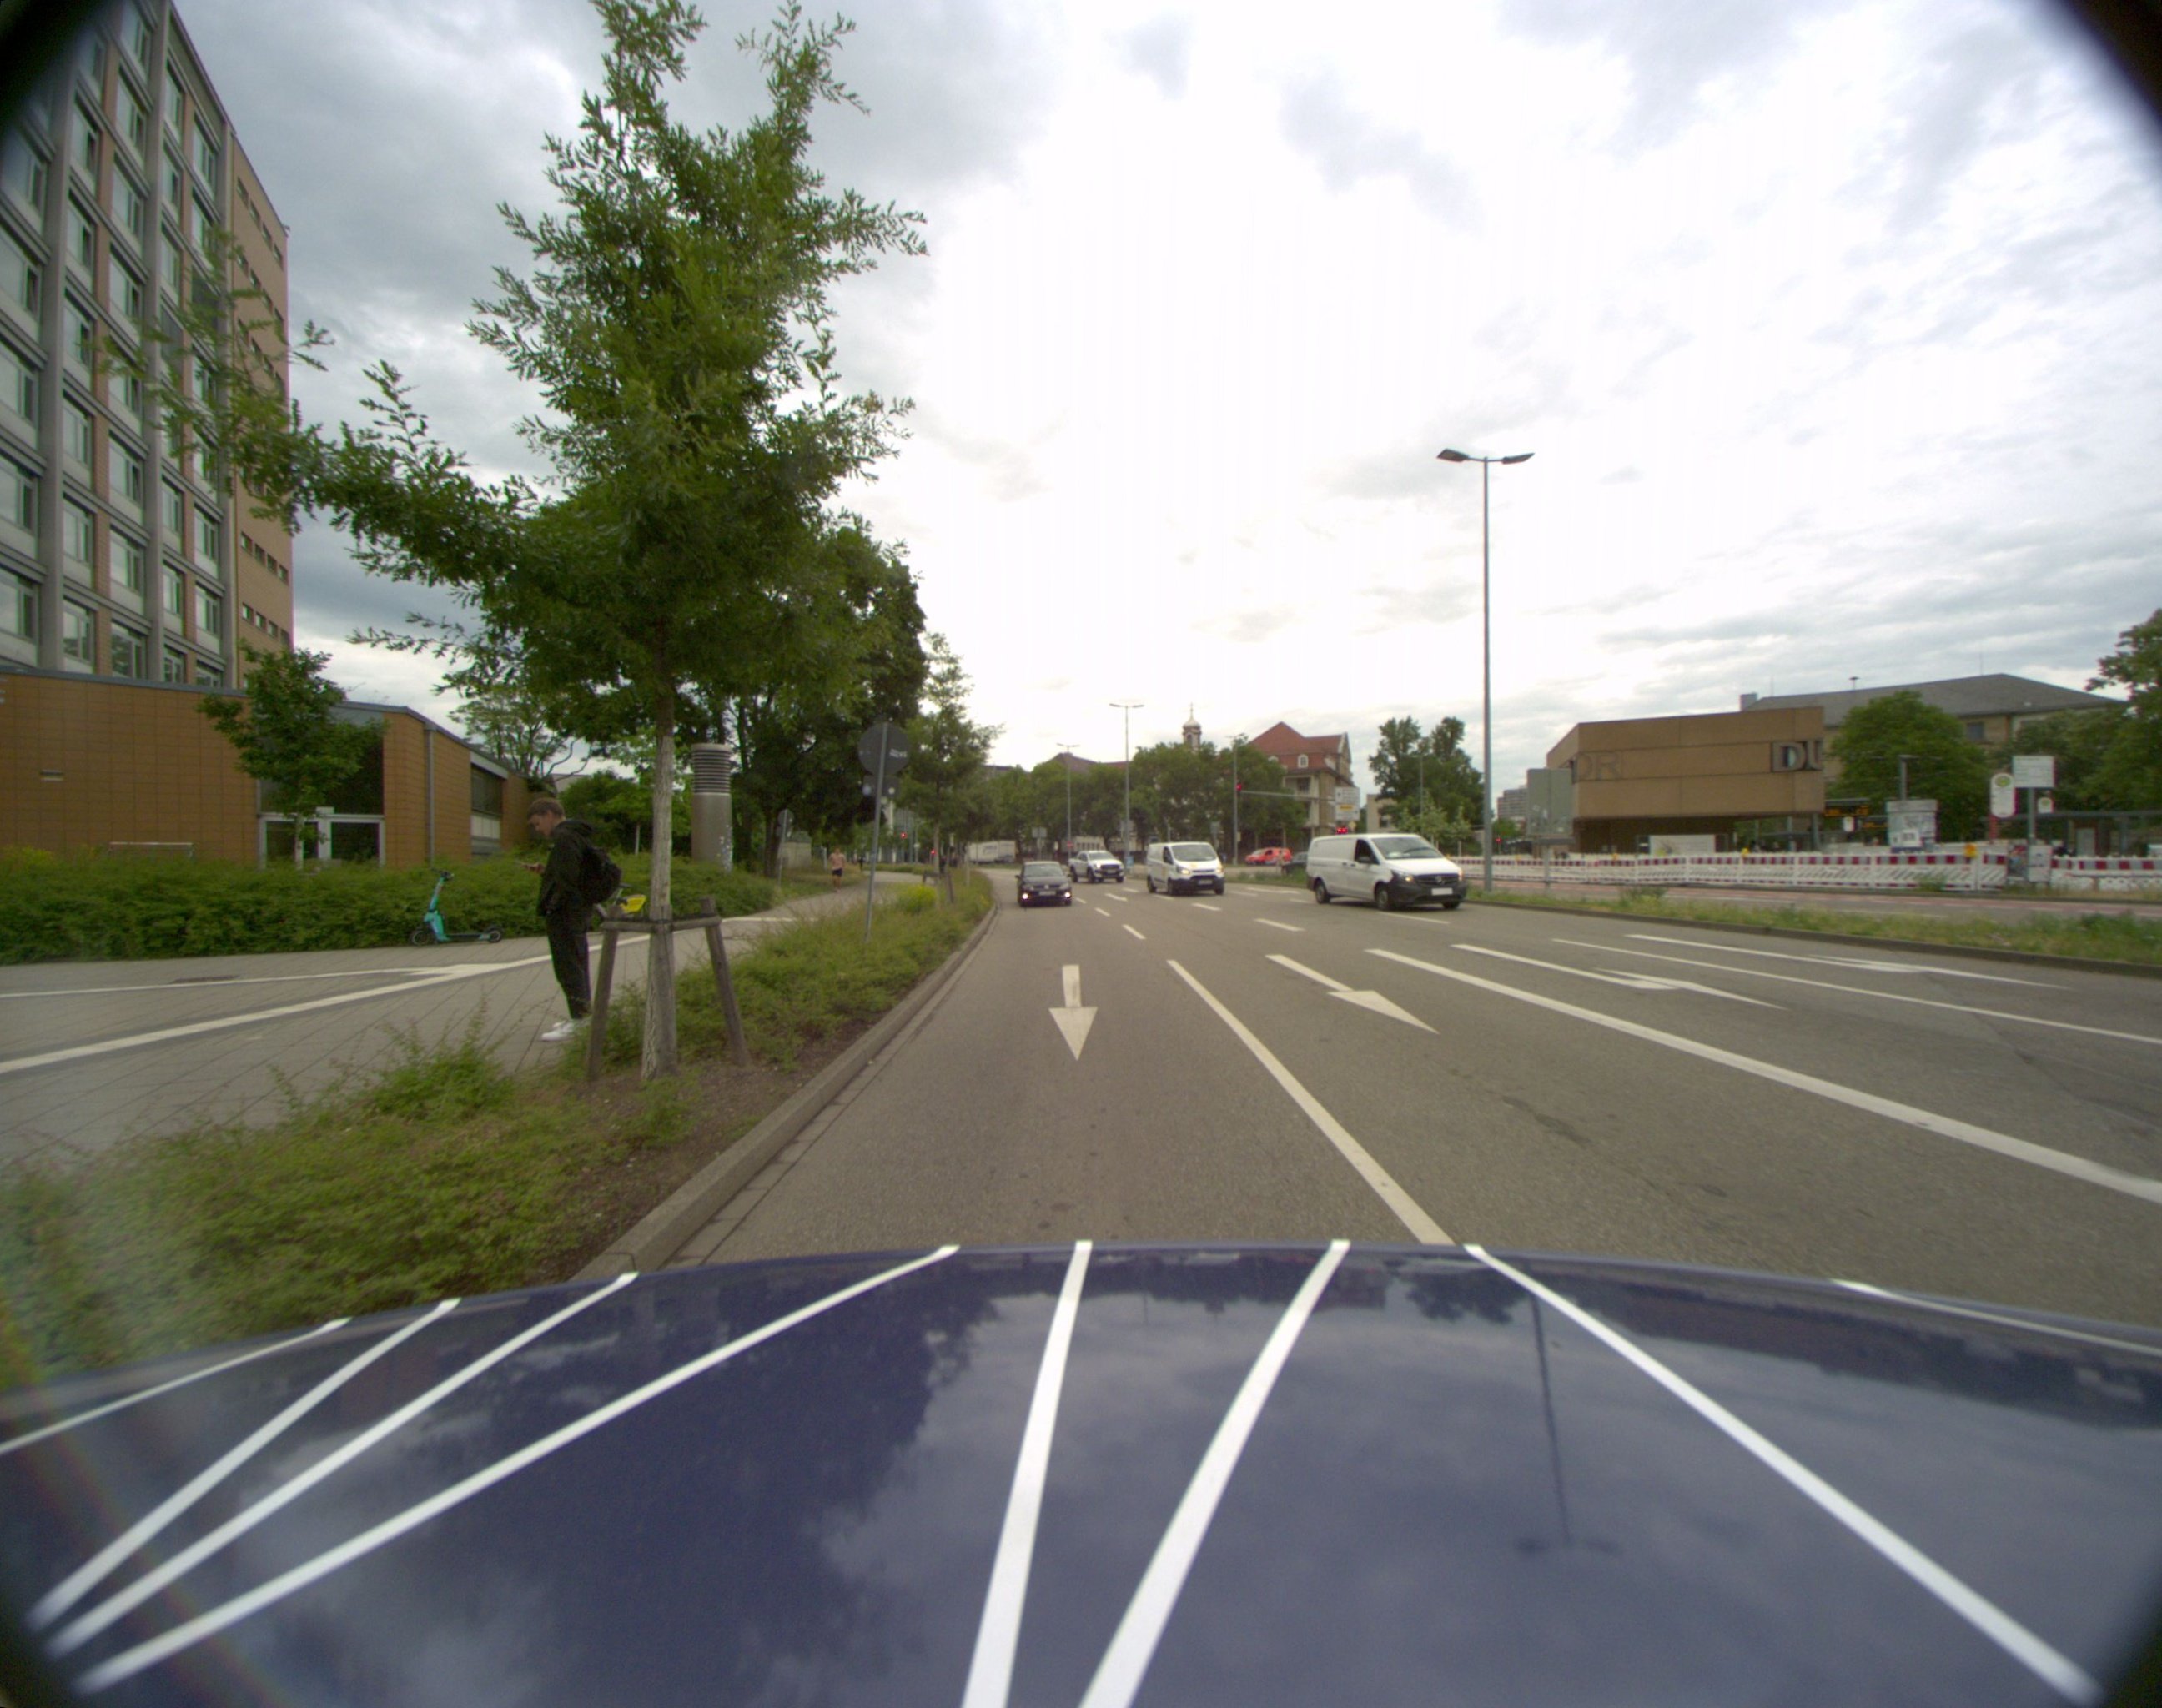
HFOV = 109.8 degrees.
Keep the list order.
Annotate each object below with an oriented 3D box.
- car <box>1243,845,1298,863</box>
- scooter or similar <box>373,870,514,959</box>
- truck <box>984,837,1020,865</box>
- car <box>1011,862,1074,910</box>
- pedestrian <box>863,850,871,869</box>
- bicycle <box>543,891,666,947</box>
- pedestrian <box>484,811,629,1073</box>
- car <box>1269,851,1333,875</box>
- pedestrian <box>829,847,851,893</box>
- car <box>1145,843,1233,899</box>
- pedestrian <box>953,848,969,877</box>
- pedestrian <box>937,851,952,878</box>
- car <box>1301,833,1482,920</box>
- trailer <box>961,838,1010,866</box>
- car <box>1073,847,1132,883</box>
[{"bbox_3d":[19.014,0.015,76.267,5.249,1.707,1.909,-1,0,-24],"label":"car"},{"bbox_3d":[-10.144,0.929,12.169,1.607,1.282,0.693,-2,1,-33],"label":"scooter or similar"},{"bbox_3d":[-11.803,-0.353,113.143,2.918,4.001,7.146,-2,0,-27],"label":"truck"},{"bbox_3d":[-1.376,1.004,25.529,1.656,1.404,3.996,-1,0,-9],"label":"car"},{"bbox_3d":[-21.084,0.518,74.789,0.598,1.790,0.518,2,0,-24],"label":"pedestrian"},{"bbox_3d":[-8.614,1.147,13.849,0.557,0.843,2.076,0,0,14],"label":"bicycle"},{"bbox_3d":[-4.170,0.642,6.081,0.875,1.917,0.722,-1,1,-34],"label":"pedestrian"},{"bbox_3d":[13.026,0.510,45.316,2.001,1.390,3.995,-1,0,-12],"label":"car"},{"bbox_3d":[-9.463,0.619,29.878,0.631,1.790,0.597,2,0,-5],"label":"pedestrian"},{"bbox_3d":[3.979,0.584,28.857,2.000,1.930,4.519,-1,0,-10],"label":"car"},{"bbox_3d":[-7.557,0.511,47.915,0.596,1.790,0.723,3,0,42],"label":"pedestrian"},{"bbox_3d":[-9.313,0.693,51.688,0.596,1.790,0.723,3,0,42],"label":"pedestrian"},{"bbox_3d":[7.707,0.496,19.545,1.923,1.871,5.084,-2,1,-9],"label":"car"},{"bbox_3d":[-15.223,-0.244,119.840,2.952,3.990,13.781,-2,0,-27],"label":"trailer"},{"bbox_3d":[1.108,0.584,42.604,2.091,1.838,4.745,-1,0,-14],"label":"car"}]
